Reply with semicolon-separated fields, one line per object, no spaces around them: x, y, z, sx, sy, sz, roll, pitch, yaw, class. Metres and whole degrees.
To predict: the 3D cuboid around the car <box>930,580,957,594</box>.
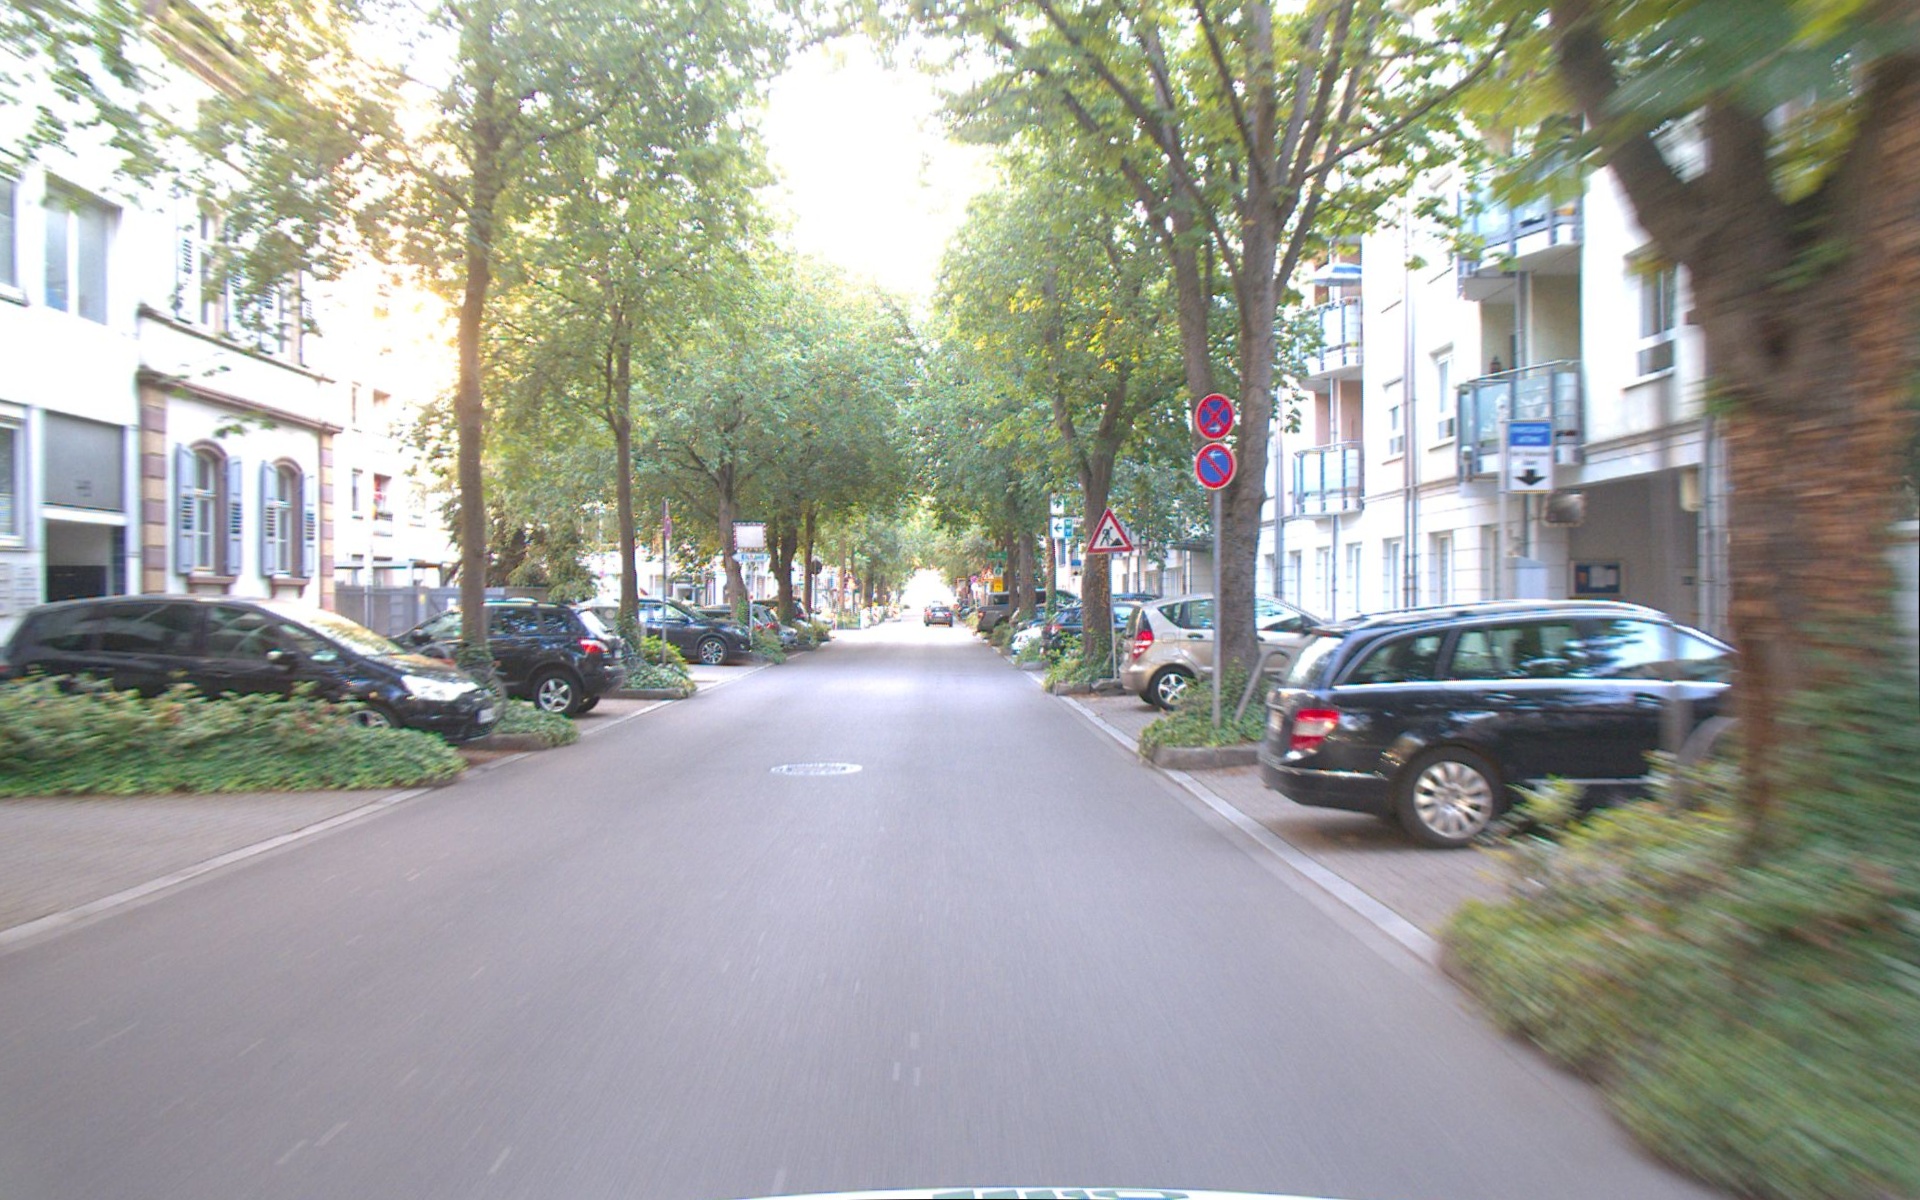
-2.403;-1.869;242.121;3.905;2.049;2.000;-1;0;1;car

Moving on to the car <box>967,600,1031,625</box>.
2.685;0.852;114.164;4.345;1.619;1.629;-1;0;1;car

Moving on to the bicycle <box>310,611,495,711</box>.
-6.149;0.666;18.285;1.863;1.043;0.479;-1;0;-3;bicycle

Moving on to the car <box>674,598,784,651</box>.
-7.405;0.775;53.304;3.337;1.637;1.760;0;0;-3;car

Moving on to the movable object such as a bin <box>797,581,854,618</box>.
-8.880;-0.062;109.507;3.592;2.373;2.582;-1;0;-3;movable object such as a bin

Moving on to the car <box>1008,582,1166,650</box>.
3.764;0.455;49.260;4.303;1.733;1.891;-3;0;-9;car

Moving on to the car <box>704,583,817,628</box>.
-7.990;0.216;66.552;4.308;1.714;2.063;1;0;-3;car

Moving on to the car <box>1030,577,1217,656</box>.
3.710;0.361;37.961;3.910;1.500;1.911;-4;0;-5;car

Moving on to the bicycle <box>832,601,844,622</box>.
-7.024;0.660;95.280;0.589;1.138;1.799;-1;0;-1;bicycle

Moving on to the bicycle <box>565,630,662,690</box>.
-5.858;1.001;27.985;1.536;0.953;0.481;-1;0;-25;bicycle

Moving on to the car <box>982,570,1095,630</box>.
3.283;0.010;69.991;4.527;2.170;2.036;-4;0;-1;car

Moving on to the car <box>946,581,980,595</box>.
0.333;-1.430;197.836;3.908;1.625;1.998;0;0;-4;car

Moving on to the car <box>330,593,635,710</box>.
-6.815;0.710;23.912;3.906;1.619;1.788;0;0;-2;car

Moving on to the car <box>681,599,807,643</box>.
-7.197;0.703;55.388;4.018;1.404;1.746;1;0;-3;car

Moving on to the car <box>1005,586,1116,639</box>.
3.489;0.442;57.702;3.592;1.575;1.779;-4;-1;-3;car

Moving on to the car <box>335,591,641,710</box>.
-6.699;0.687;23.788;3.908;1.616;1.827;0;0;-4;car

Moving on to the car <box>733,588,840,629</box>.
-7.483;0.371;71.784;4.406;1.609;2.054;1;-1;-1;car

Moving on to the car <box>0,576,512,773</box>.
-6.784;0.674;16.035;4.446;1.712;1.620;-1;0;-5;car

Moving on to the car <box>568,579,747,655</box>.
-7.835;0.430;43.160;4.329;1.925;1.999;0;0;-2;car

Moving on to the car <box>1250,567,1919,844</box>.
4.165;0.632;10.772;4.266;1.495;1.732;-3;0;4;car

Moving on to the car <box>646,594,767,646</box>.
-7.335;0.564;48.058;3.337;1.467;1.593;0;0;-3;car

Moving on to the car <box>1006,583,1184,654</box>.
3.562;0.477;44.113;4.481;1.579;1.772;-3;0;-2;car

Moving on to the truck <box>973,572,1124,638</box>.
3.545;0.189;67.401;5.884;2.170;2.260;-5;0;-1;truck

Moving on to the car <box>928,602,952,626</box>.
-1.278;0.865;106.021;1.470;1.441;3.713;-1;0;-1;car

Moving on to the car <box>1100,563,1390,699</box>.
4.059;0.431;24.011;3.784;1.696;1.925;-3;0;-1;car
